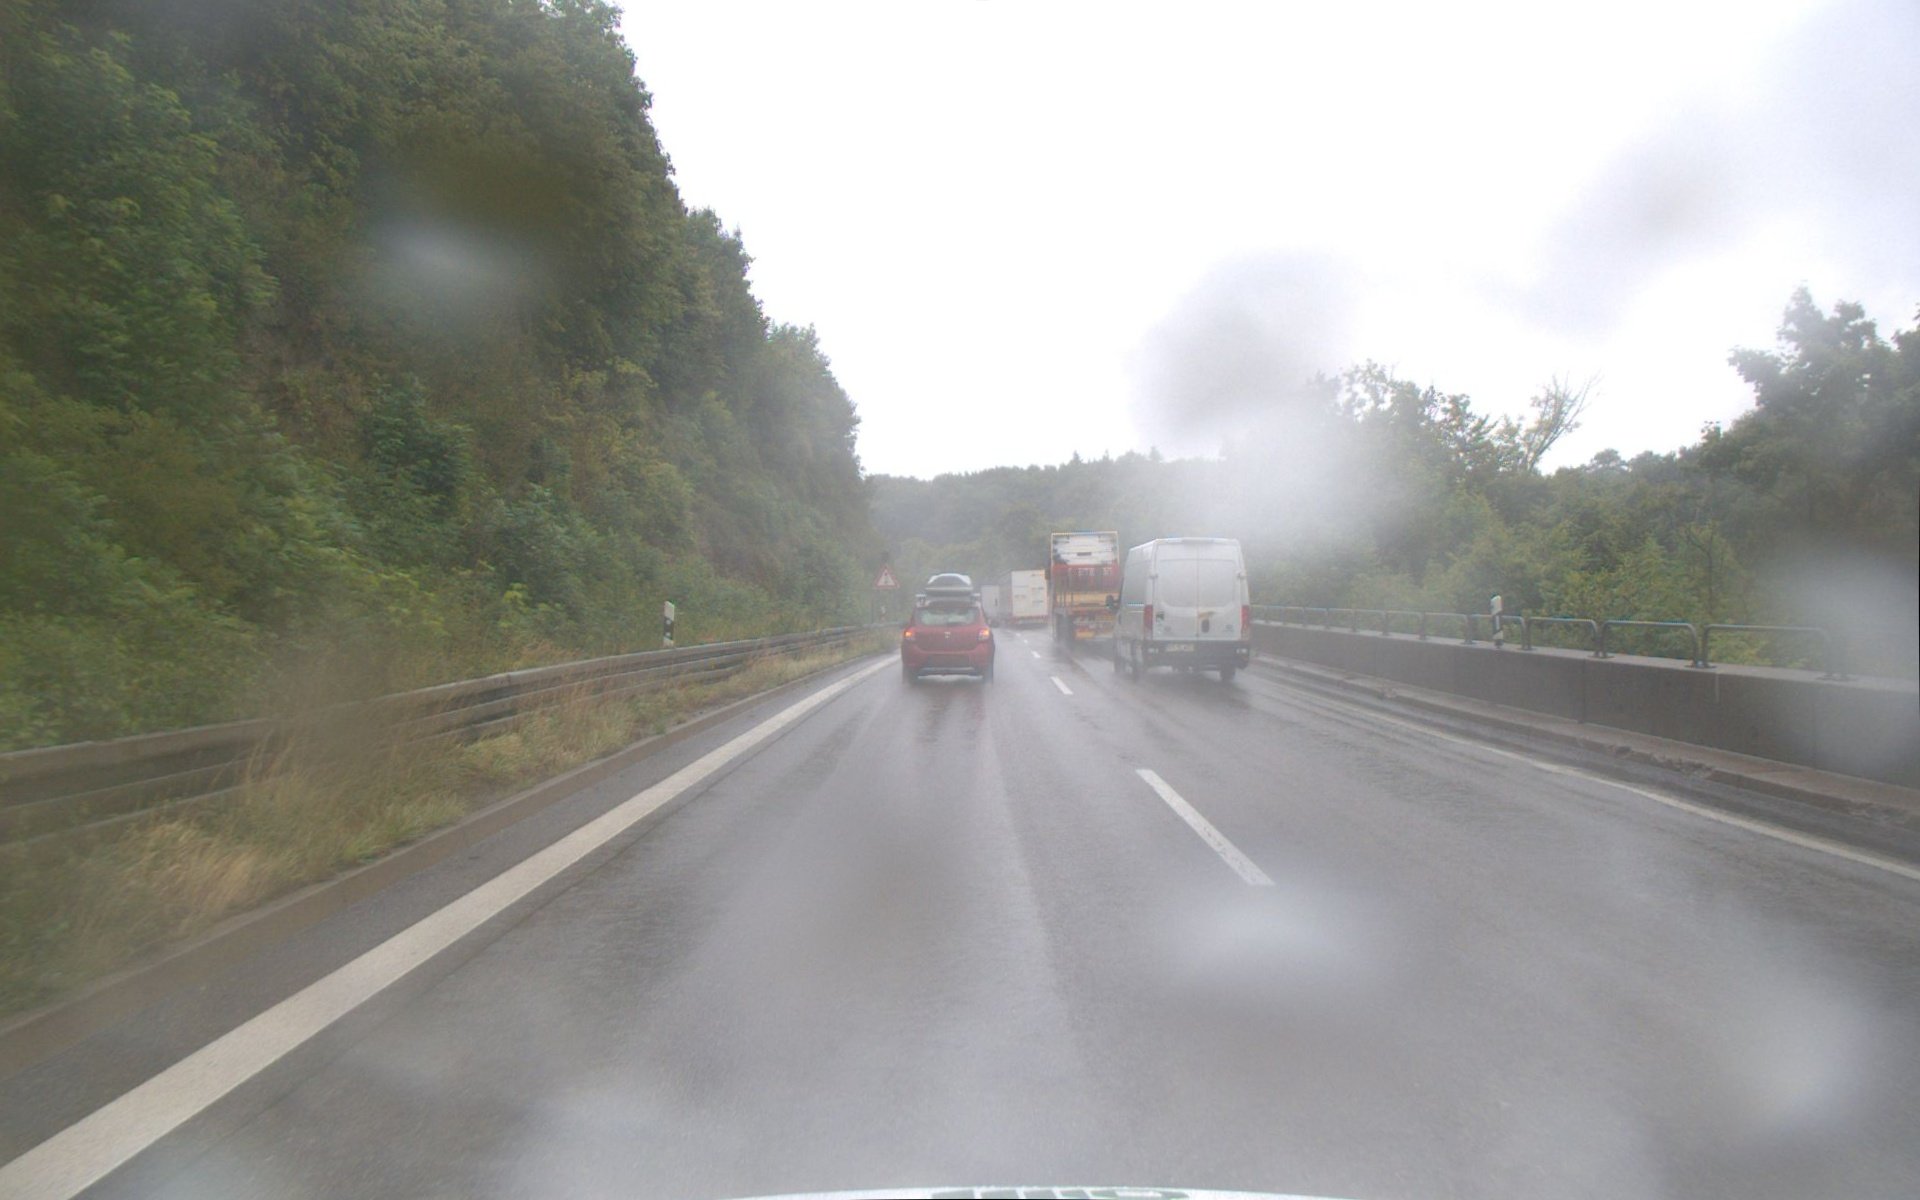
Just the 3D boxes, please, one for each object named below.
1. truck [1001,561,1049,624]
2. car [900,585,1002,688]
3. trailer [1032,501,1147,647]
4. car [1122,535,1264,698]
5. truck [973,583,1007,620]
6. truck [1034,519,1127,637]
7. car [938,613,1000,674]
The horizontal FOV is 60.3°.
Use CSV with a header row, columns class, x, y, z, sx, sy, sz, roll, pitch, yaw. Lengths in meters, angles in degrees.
class,x,y,z,sx,sy,sz,roll,pitch,yaw
truck,4.562,-0.479,117.408,2.633,4.165,9.312,-3,0,-1
car,-0.161,0.647,31.194,1.722,1.714,4.000,-3,0,0
trailer,4.004,-0.741,53.449,3.151,4.069,13.529,-1,0,3
car,4.435,0.297,32.645,2.160,2.843,7.385,0,0,3
truck,2.721,0.119,154.679,2.999,3.370,8.070,0,0,0
truck,4.344,-0.745,60.259,3.152,4.047,5.441,-1,0,3
car,0.326,1.348,52.582,1.795,1.745,3.645,-3,0,1
